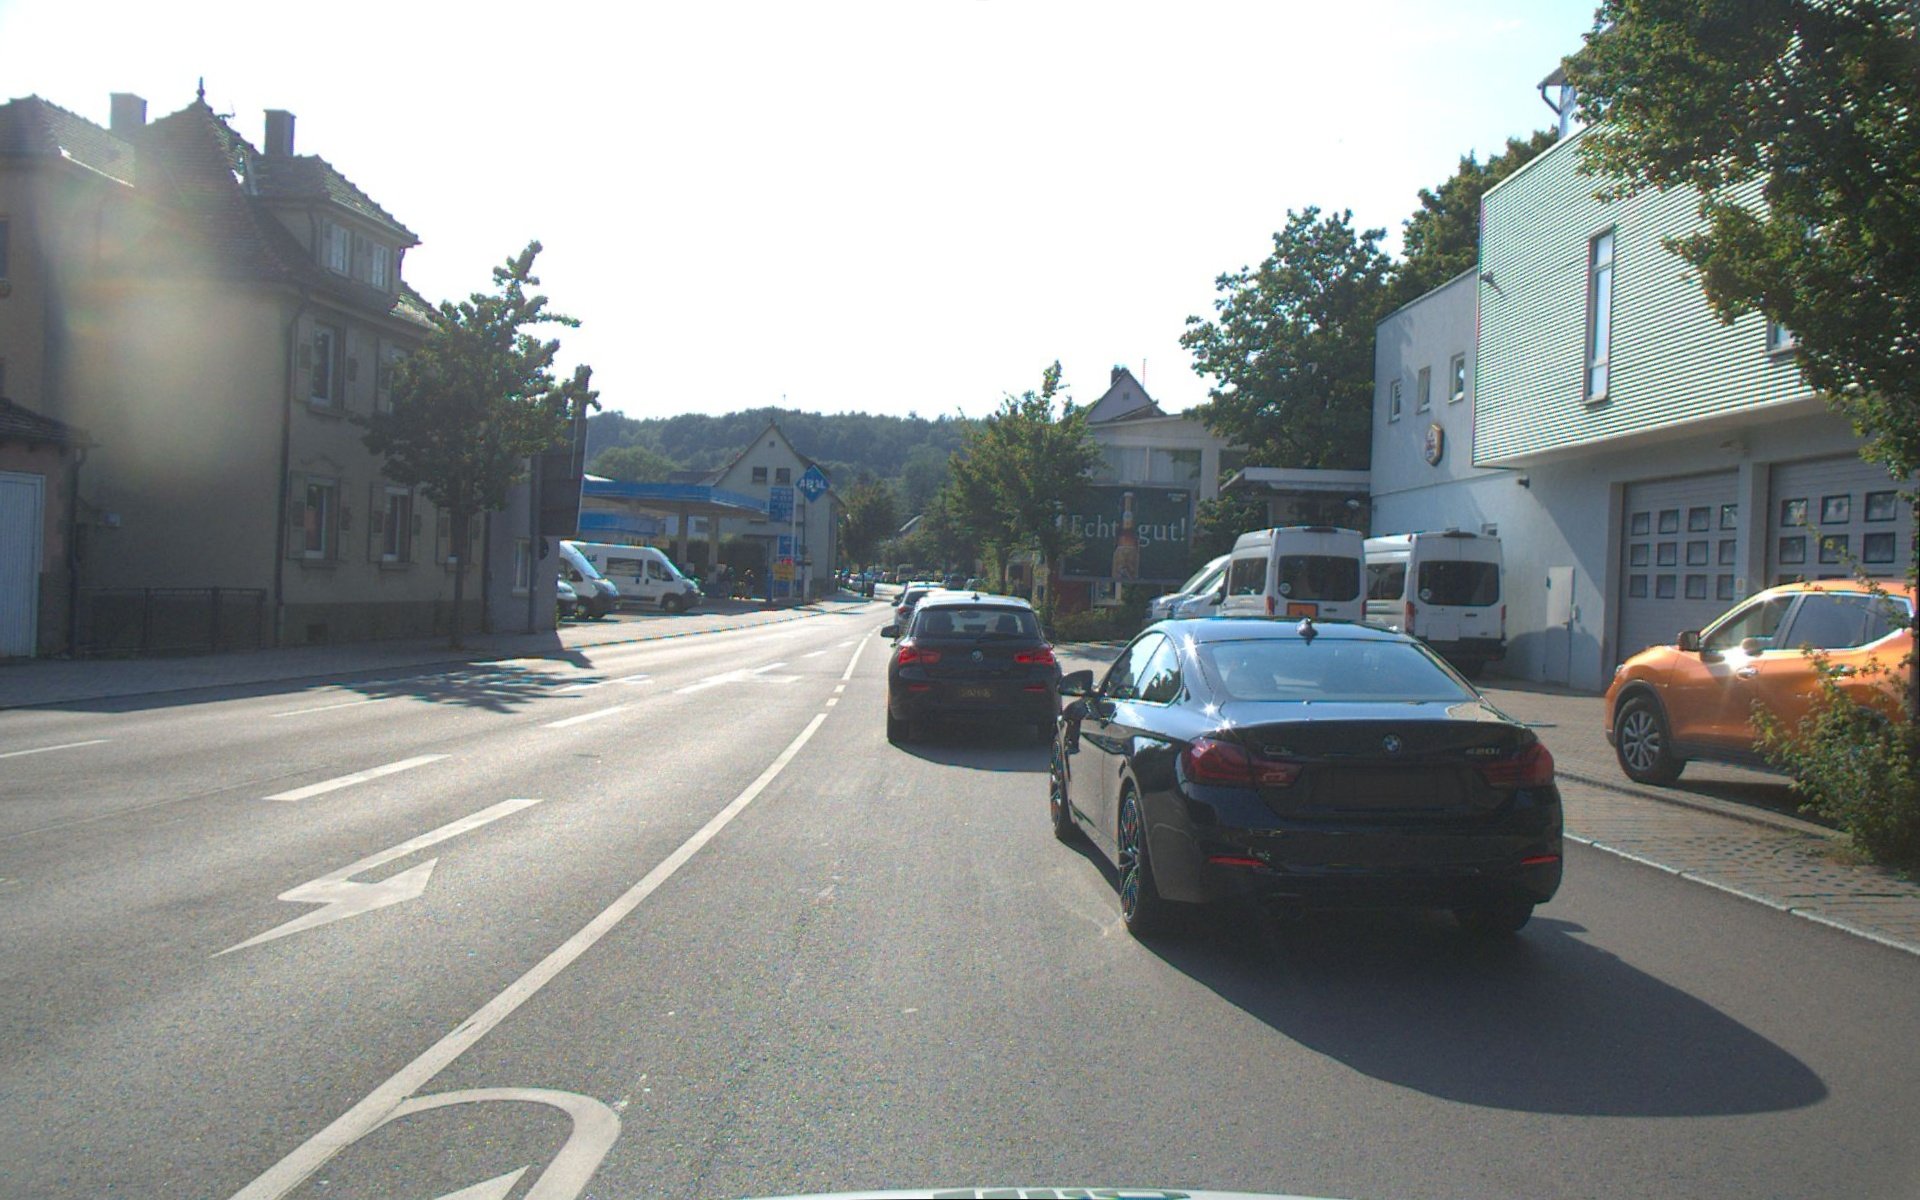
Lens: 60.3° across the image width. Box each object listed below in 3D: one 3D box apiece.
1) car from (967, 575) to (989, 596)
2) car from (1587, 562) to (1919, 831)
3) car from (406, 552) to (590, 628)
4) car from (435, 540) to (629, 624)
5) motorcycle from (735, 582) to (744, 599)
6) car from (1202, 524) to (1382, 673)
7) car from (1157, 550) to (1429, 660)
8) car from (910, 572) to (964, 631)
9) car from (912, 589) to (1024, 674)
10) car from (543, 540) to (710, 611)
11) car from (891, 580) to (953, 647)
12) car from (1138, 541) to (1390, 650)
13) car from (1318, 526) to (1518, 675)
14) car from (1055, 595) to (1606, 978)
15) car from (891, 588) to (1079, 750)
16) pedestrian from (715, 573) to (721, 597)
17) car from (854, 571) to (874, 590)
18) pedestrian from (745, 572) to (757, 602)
[{"bbox_3d":[1.399,-1.168,130.907,1.565,1.511,3.474,2,1,-2],"label":"car"},{"bbox_3d":[6.642,0.596,12.188,1.800,1.678,4.530,1,1,-8],"label":"car"},{"bbox_3d":[-13.791,-0.313,49.507,4.873,2.034,1.936,2,1,2],"label":"car"},{"bbox_3d":[-14.253,-0.616,55.301,5.796,2.523,2.195,2,1,3],"label":"car"},{"bbox_3d":[-12.762,-0.568,95.698,0.356,0.960,1.695,1,1,-2],"label":"motorcycle"},{"bbox_3d":[6.651,-0.094,34.010,2.106,2.727,6.601,1,1,-2],"label":"car"},{"bbox_3d":[7.767,0.094,38.940,5.923,2.404,2.043,1,1,-3],"label":"car"},{"bbox_3d":[-0.729,0.020,53.691,1.569,1.798,3.412,1,1,2],"label":"car"},{"bbox_3d":[0.090,0.550,31.016,1.720,1.438,3.417,1,1,-6],"label":"car"},{"bbox_3d":[-13.077,-0.967,65.118,6.033,2.487,2.249,2,1,-1],"label":"car"},{"bbox_3d":[-1.029,0.321,44.090,1.560,1.628,3.892,1,1,-2],"label":"car"},{"bbox_3d":[7.626,-0.117,41.855,5.923,2.560,2.043,1,1,-3],"label":"car"},{"bbox_3d":[9.310,-0.053,34.305,2.069,2.769,6.441,1,1,-2],"label":"car"},{"bbox_3d":[1.559,0.714,8.509,1.666,1.392,4.260,1,1,-3],"label":"car"},{"bbox_3d":[0.249,0.635,17.205,1.735,1.481,3.516,1,0,0],"label":"car"},{"bbox_3d":[-13.935,-0.871,95.110,0.256,1.407,0.288,1,1,2],"label":"pedestrian"},{"bbox_3d":[-8.274,-1.682,143.110,1.565,1.511,3.474,2,1,-2],"label":"car"},{"bbox_3d":[-12.132,-0.764,96.049,0.598,1.699,0.442,1,1,-4],"label":"pedestrian"}]
